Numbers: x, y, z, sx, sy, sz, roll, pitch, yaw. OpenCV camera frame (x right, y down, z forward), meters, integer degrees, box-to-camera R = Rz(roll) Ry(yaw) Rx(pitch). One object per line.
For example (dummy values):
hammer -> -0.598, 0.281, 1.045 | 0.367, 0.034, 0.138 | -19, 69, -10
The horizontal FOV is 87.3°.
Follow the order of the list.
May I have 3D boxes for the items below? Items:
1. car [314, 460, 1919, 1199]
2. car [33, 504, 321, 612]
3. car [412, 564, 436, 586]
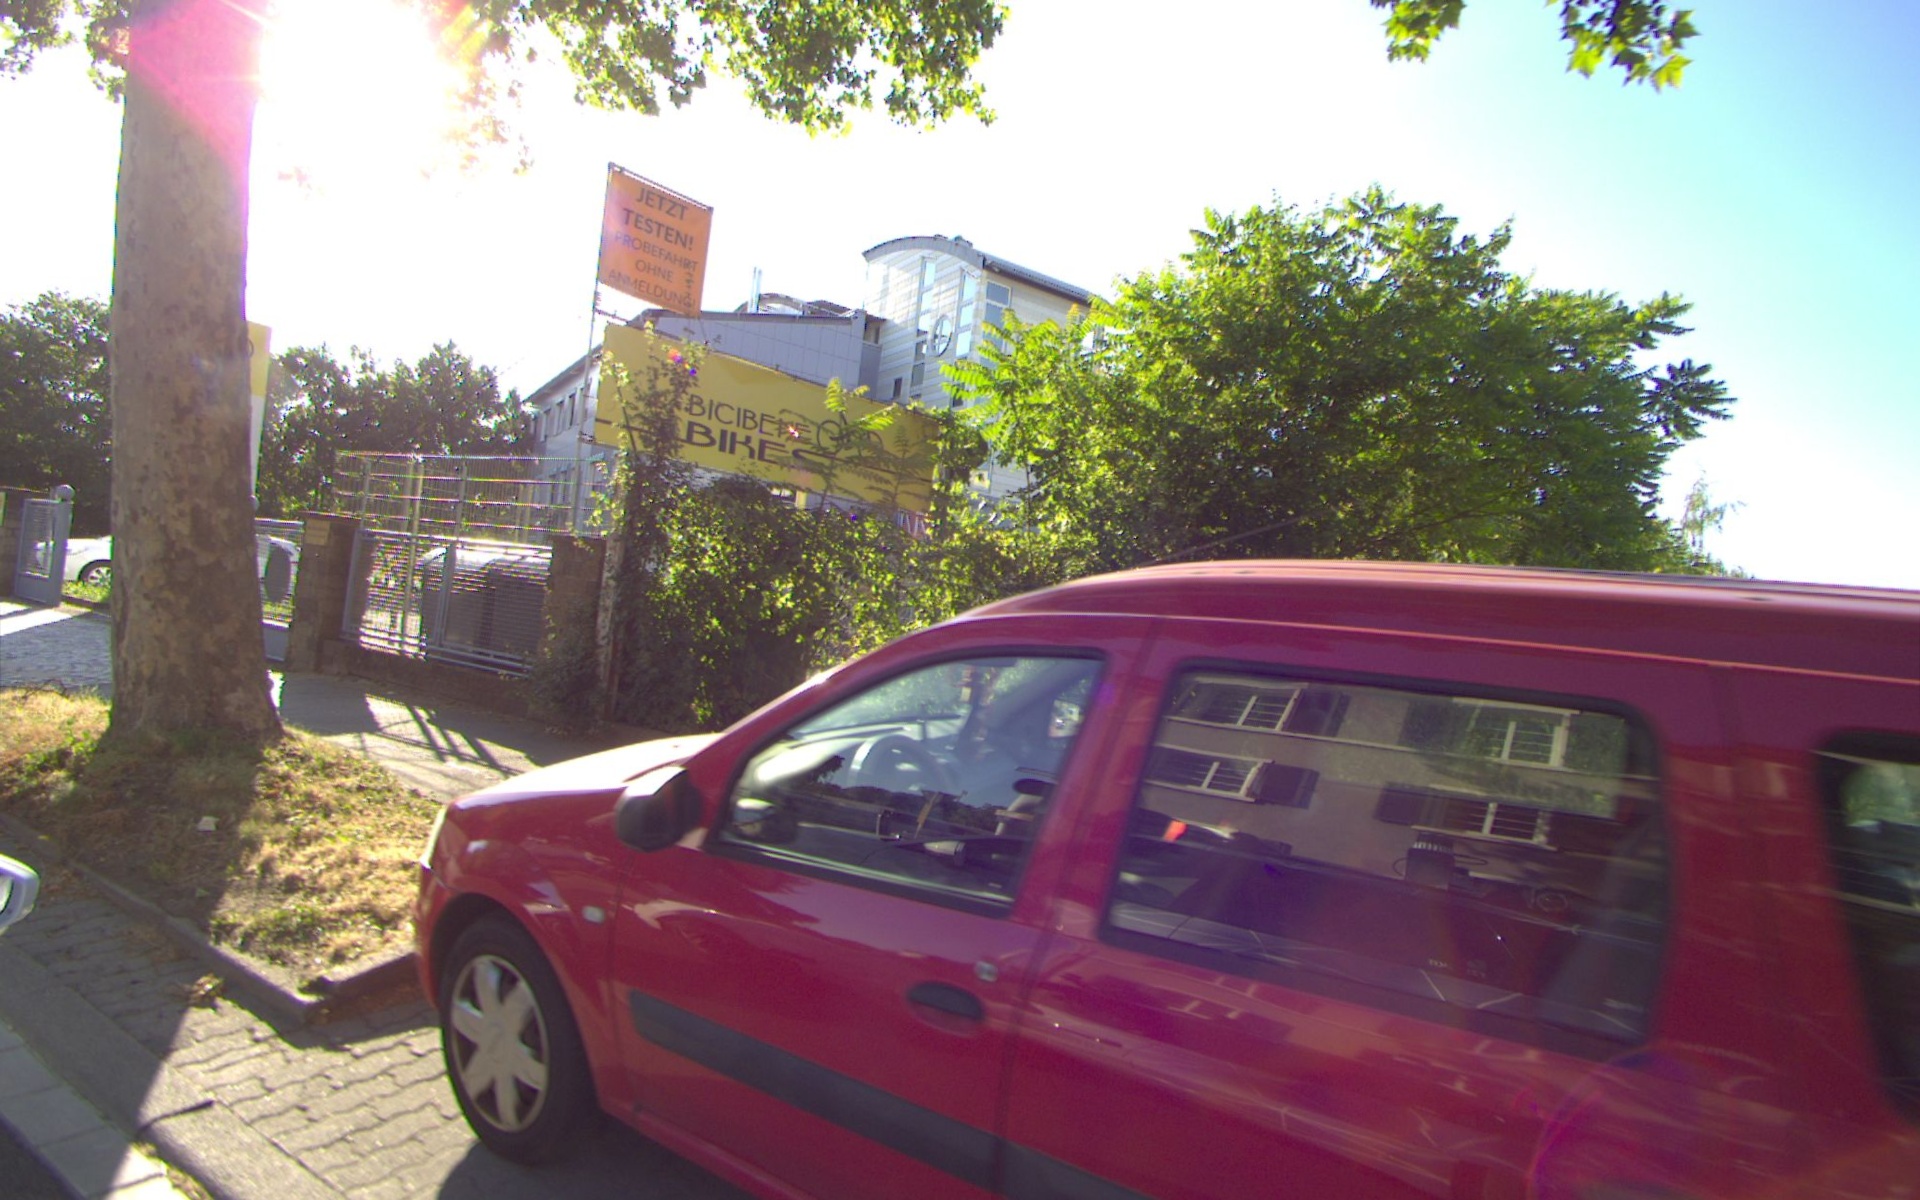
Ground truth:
car -> 0.499, 0.713, 2.316 | 4.265, 1.710, 1.599 | 6, 0, 33
car -> -15.106, -0.758, 19.626 | 1.811, 1.578, 3.991 | 6, -1, 32
car -> -49.412, -2.320, 92.820 | 1.683, 1.707, 3.840 | 9, -3, -27
